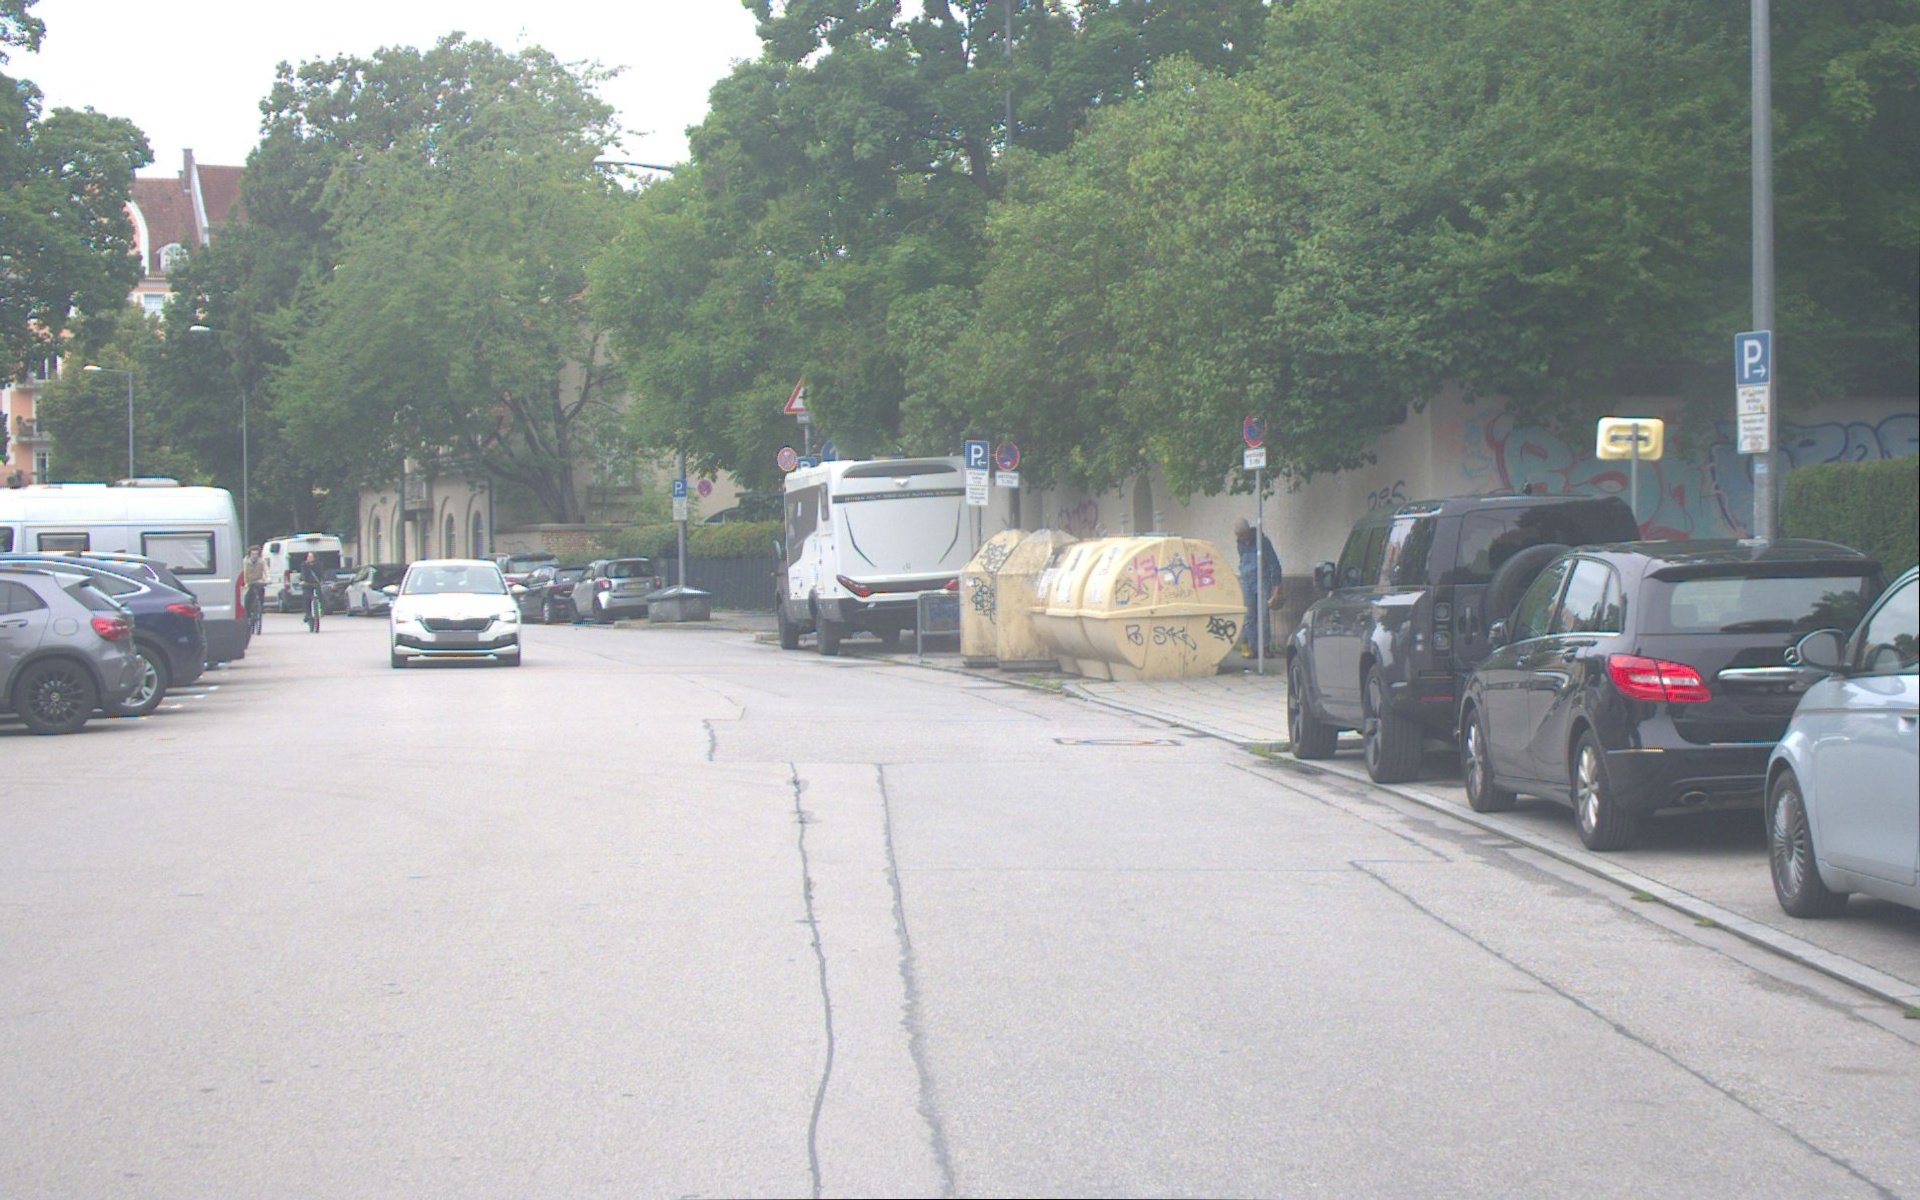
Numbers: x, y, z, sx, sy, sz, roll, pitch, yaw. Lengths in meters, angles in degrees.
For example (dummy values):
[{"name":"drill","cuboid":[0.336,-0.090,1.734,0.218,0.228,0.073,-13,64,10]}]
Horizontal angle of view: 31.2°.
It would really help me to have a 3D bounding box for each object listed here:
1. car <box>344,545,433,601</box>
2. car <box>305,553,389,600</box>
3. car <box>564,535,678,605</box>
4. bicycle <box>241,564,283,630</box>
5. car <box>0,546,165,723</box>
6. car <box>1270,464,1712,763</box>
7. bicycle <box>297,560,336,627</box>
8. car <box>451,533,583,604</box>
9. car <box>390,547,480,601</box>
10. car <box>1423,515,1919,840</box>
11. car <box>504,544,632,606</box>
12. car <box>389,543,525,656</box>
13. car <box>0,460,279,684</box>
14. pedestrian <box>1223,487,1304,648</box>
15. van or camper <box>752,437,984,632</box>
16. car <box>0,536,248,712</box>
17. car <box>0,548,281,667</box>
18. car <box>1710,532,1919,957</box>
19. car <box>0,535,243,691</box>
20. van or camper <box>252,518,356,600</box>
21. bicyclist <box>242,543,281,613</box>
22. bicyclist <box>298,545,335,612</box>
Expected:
[{"name":"car","cuboid":[-17.065,-0.805,102.546,1.707,1.532,4.241,-3,2,-21]},{"name":"car","cuboid":[-19.251,-0.733,107.915,1.707,1.364,4.442,-3,1,-21]},{"name":"car","cuboid":[-7.988,-0.702,80.839,1.738,1.531,2.947,-3,1,-24]},{"name":"bicycle","cuboid":[-14.122,-0.068,69.518,0.707,1.301,2.119,-1,1,-14]},{"name":"car","cuboid":[-9.421,0.340,30.932,4.329,1.524,1.934,-1,0,-15]},{"name":"car","cuboid":[3.567,0.069,24.127,1.987,1.865,5.078,0,0,-4]},{"name":"bicycle","cuboid":[-13.061,-0.142,69.825,0.706,1.301,2.119,-1,1,-9]},{"name":"car","cuboid":[-11.487,-0.812,88.903,1.993,1.705,4.886,-3,2,-24]},{"name":"car","cuboid":[-14.965,-0.731,97.846,1.685,1.436,4.001,-2,1,-21]},{"name":"car","cuboid":[3.862,0.321,18.766,1.747,1.534,4.570,-1,1,-4]},{"name":"car","cuboid":[-9.687,-0.617,84.622,1.877,1.422,4.223,-3,2,-24]},{"name":"car","cuboid":[-6.954,-0.046,47.775,1.772,1.470,4.135,-1,1,-7]},{"name":"car","cuboid":[-10.930,-0.351,41.754,4.623,2.554,2.234,-3,2,-35]},{"name":"pedestrian","cuboid":[3.765,-0.409,42.649,0.795,1.978,0.631,-1,1,-18]},{"name":"van or camper","cuboid":[-1.583,-1.044,55.258,2.272,2.896,7.279,-1,1,-13]},{"name":"car","cuboid":[-9.521,0.269,33.695,4.513,1.588,1.965,-3,1,-35]},{"name":"car","cuboid":[-11.963,0.088,47.757,4.514,1.446,1.977,-3,2,-39]},{"name":"car","cuboid":[4.218,0.485,13.050,1.747,1.475,3.889,-1,1,-2]},{"name":"car","cuboid":[-10.627,0.188,38.753,4.513,1.620,1.966,-3,0,-35]},{"name":"van or camper","cuboid":[-21.840,-1.357,114.272,2.192,2.541,5.729,-3,1,-22]},{"name":"bicyclist","cuboid":[-14.120,-0.447,69.481,0.696,1.392,0.930,-1,1,-14]},{"name":"bicyclist","cuboid":[-13.059,-0.438,69.735,0.696,1.347,0.930,-1,1,-12]}]
